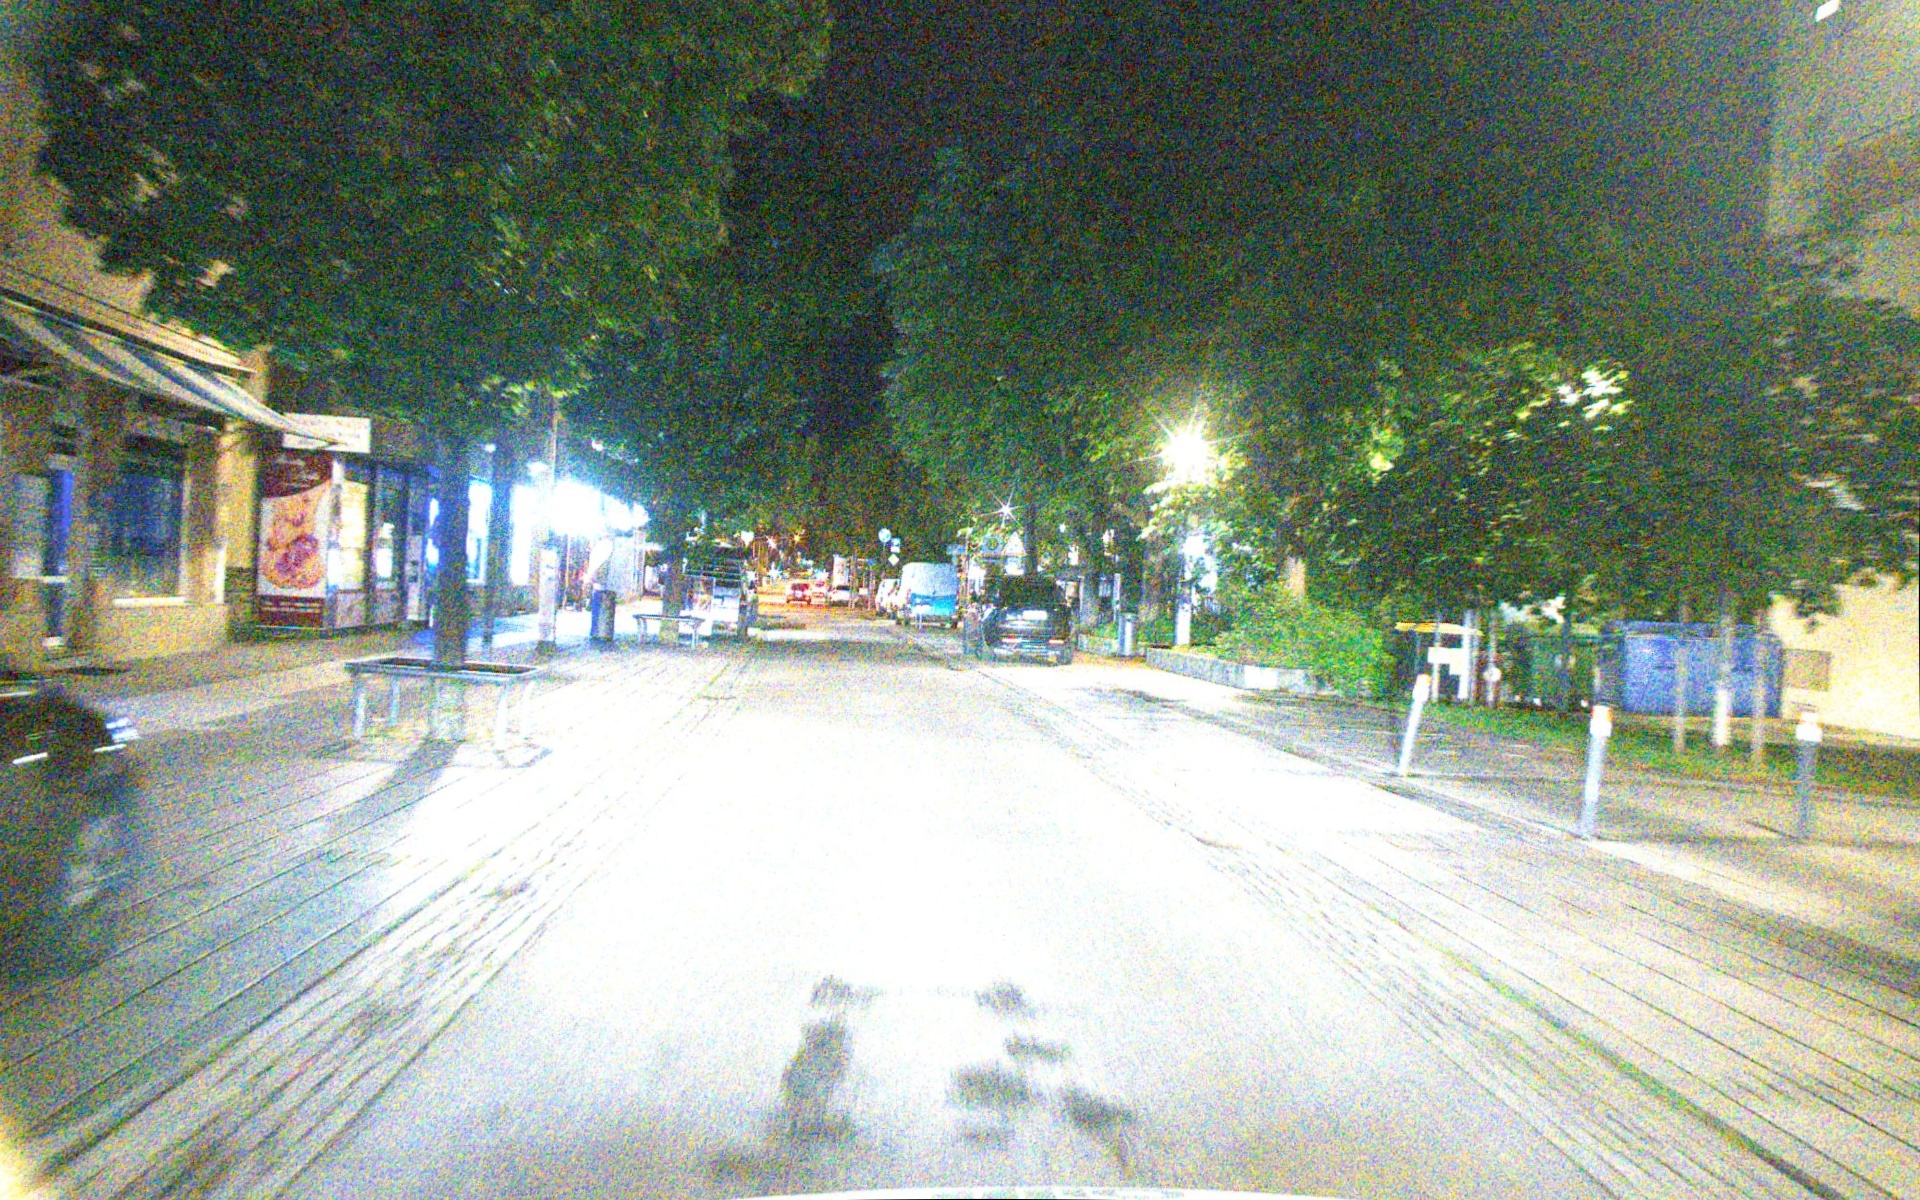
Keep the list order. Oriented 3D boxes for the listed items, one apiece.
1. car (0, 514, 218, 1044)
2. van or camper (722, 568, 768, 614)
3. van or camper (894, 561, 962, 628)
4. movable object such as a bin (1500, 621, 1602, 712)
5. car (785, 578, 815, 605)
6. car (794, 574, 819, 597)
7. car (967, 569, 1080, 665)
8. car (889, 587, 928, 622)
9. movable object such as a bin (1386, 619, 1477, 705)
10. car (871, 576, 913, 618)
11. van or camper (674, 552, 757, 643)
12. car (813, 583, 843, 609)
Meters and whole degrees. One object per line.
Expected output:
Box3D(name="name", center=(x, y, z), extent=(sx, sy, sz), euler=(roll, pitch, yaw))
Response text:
Box3D(name="car", center=(-3.566, 0.486, 4.289), extent=(1.641, 1.570, 4.225), euler=(4, 0, -6))
Box3D(name="van or camper", center=(-9.978, -0.431, 76.615), extent=(1.900, 2.023, 3.837), euler=(3, 0, -9))
Box3D(name="van or camper", center=(-1.222, -0.213, 61.374), extent=(2.068, 2.357, 4.256), euler=(1, 0, -7))
Box3D(name="movable object such as a bin", center=(9.896, 1.107, 27.736), extent=(1.236, 1.444, 1.116), euler=(2, 0, -5))
Box3D(name="car", center=(-11.613, -0.608, 120.095), extent=(1.956, 1.855, 3.993), euler=(3, 0, -8))
Box3D(name="car", center=(-12.978, -1.216, 139.690), extent=(1.956, 1.855, 3.994), euler=(3, 0, -7))
Box3D(name="car", center=(1.292, 0.333, 35.473), extent=(1.780, 1.860, 4.342), euler=(2, 0, -6))
Box3D(name="car", center=(-2.331, 0.190, 74.285), extent=(1.501, 1.443, 3.841), euler=(3, 0, -5))
Box3D(name="movable object such as a bin", center=(7.801, 1.017, 27.422), extent=(1.083, 1.329, 1.009), euler=(4, 0, -7))
Box3D(name="car", center=(-3.308, -0.159, 80.119), extent=(1.804, 1.934, 3.841), euler=(3, 0, -5))
Box3D(name="van or camper", center=(-6.162, -0.075, 42.063), extent=(1.831, 2.045, 4.256), euler=(4, 0, -7))
Box3D(name="car", center=(-8.583, -0.294, 107.271), extent=(1.804, 1.569, 3.841), euler=(3, 0, -5))
